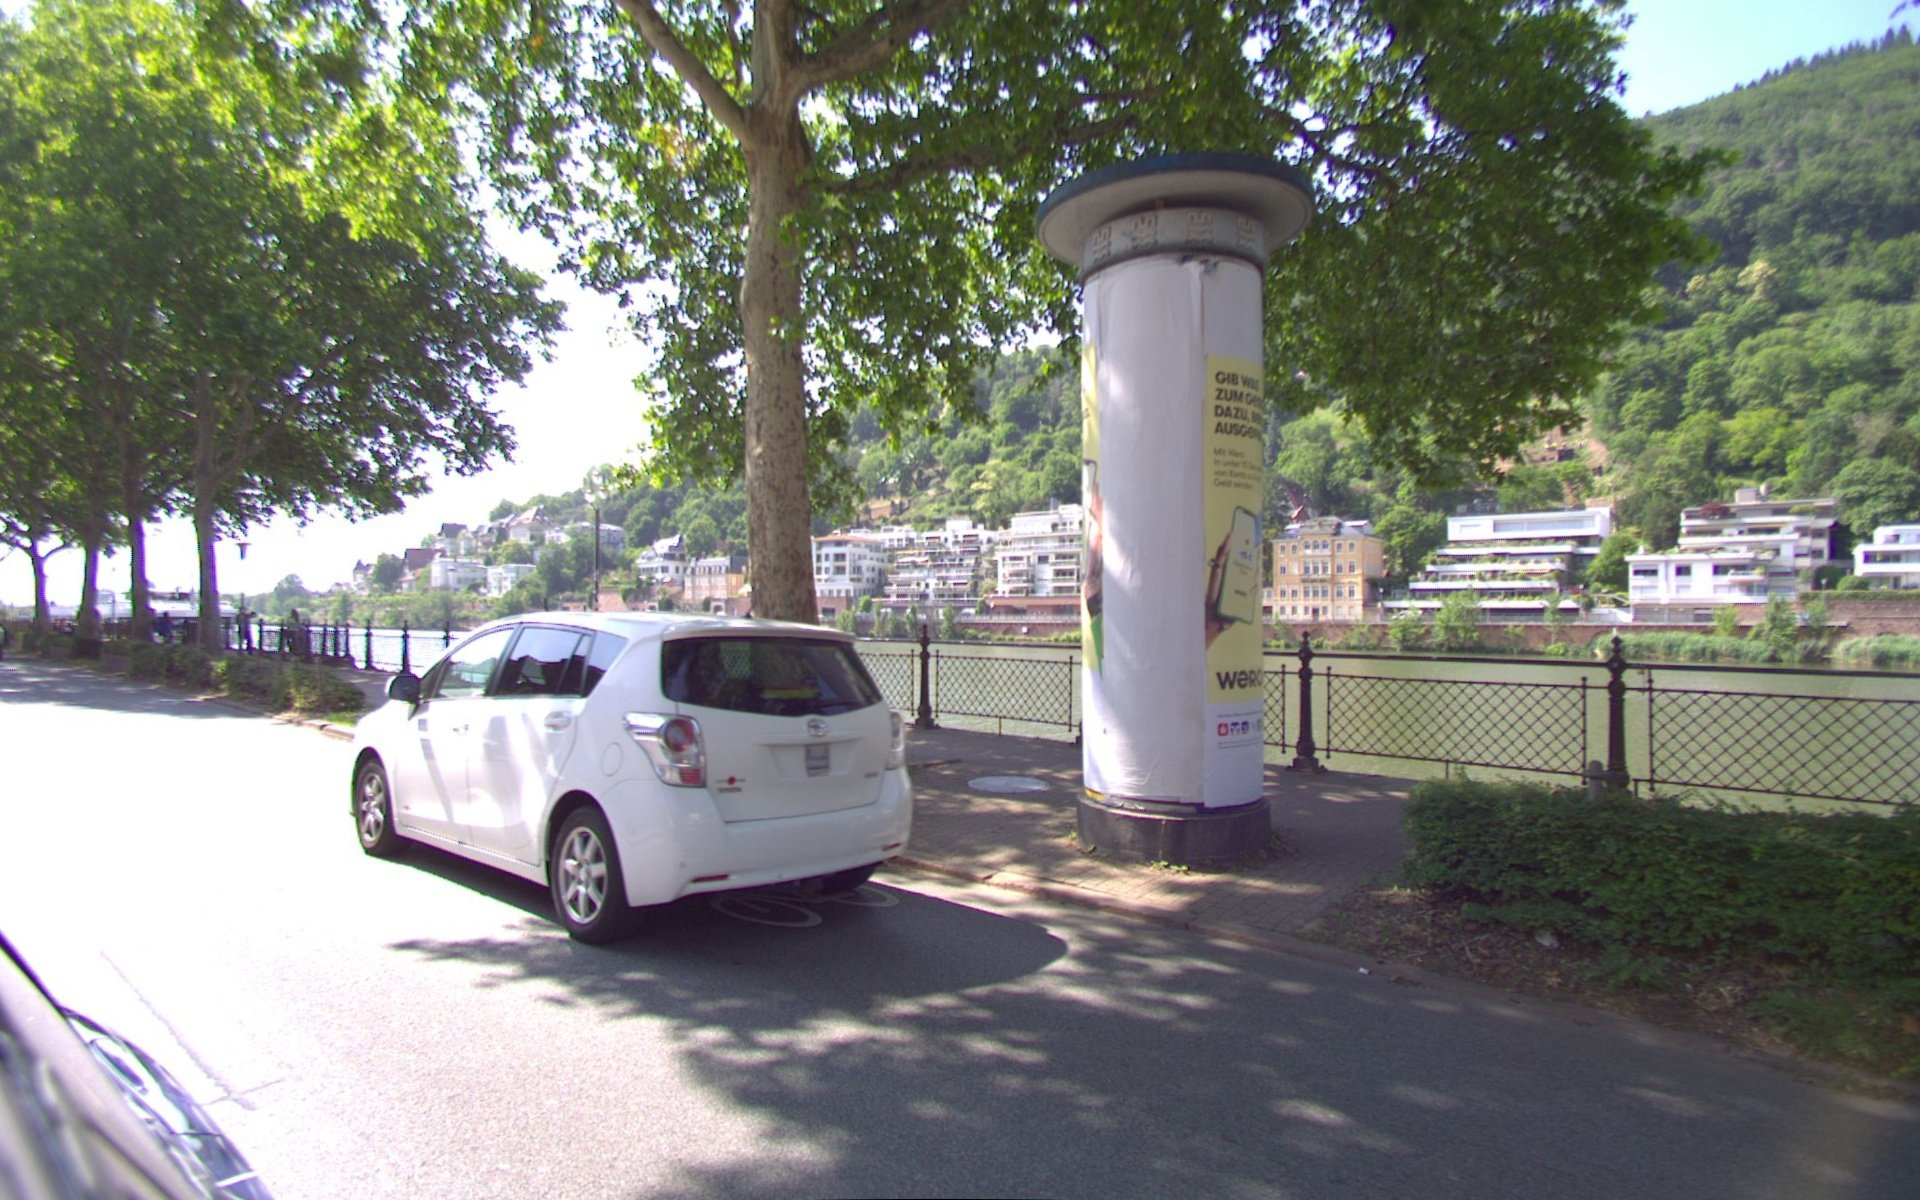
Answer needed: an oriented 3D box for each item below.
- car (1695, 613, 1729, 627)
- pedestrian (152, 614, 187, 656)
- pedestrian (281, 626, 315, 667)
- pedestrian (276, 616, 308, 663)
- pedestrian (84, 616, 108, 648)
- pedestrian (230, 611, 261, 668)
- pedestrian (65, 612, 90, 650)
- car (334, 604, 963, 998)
[{"bbox_3d":[116.011,3.069,156.189,3.998,2.029,1.973,-1,0,41],"label":"car"},{"bbox_3d":[-39.104,1.707,50.062,1.032,2.029,1.038,-1,0,-18],"label":"pedestrian"},{"bbox_3d":[-22.995,1.606,35.143,0.770,1.398,0.758,-1,-3,40],"label":"pedestrian"},{"bbox_3d":[-25.232,1.487,38.228,0.829,1.771,0.767,-1,-3,41],"label":"pedestrian"},{"bbox_3d":[-44.813,1.649,52.510,0.885,1.647,1.060,-1,1,-43],"label":"pedestrian"},{"bbox_3d":[-24.618,1.356,34.870,0.756,1.915,0.772,2,-3,-41],"label":"pedestrian"},{"bbox_3d":[-45.062,1.568,51.676,0.929,1.863,0.796,0,1,41],"label":"pedestrian"},{"bbox_3d":[-2.091,0.893,6.117,4.090,1.584,1.720,-1,-4,42],"label":"car"}]
